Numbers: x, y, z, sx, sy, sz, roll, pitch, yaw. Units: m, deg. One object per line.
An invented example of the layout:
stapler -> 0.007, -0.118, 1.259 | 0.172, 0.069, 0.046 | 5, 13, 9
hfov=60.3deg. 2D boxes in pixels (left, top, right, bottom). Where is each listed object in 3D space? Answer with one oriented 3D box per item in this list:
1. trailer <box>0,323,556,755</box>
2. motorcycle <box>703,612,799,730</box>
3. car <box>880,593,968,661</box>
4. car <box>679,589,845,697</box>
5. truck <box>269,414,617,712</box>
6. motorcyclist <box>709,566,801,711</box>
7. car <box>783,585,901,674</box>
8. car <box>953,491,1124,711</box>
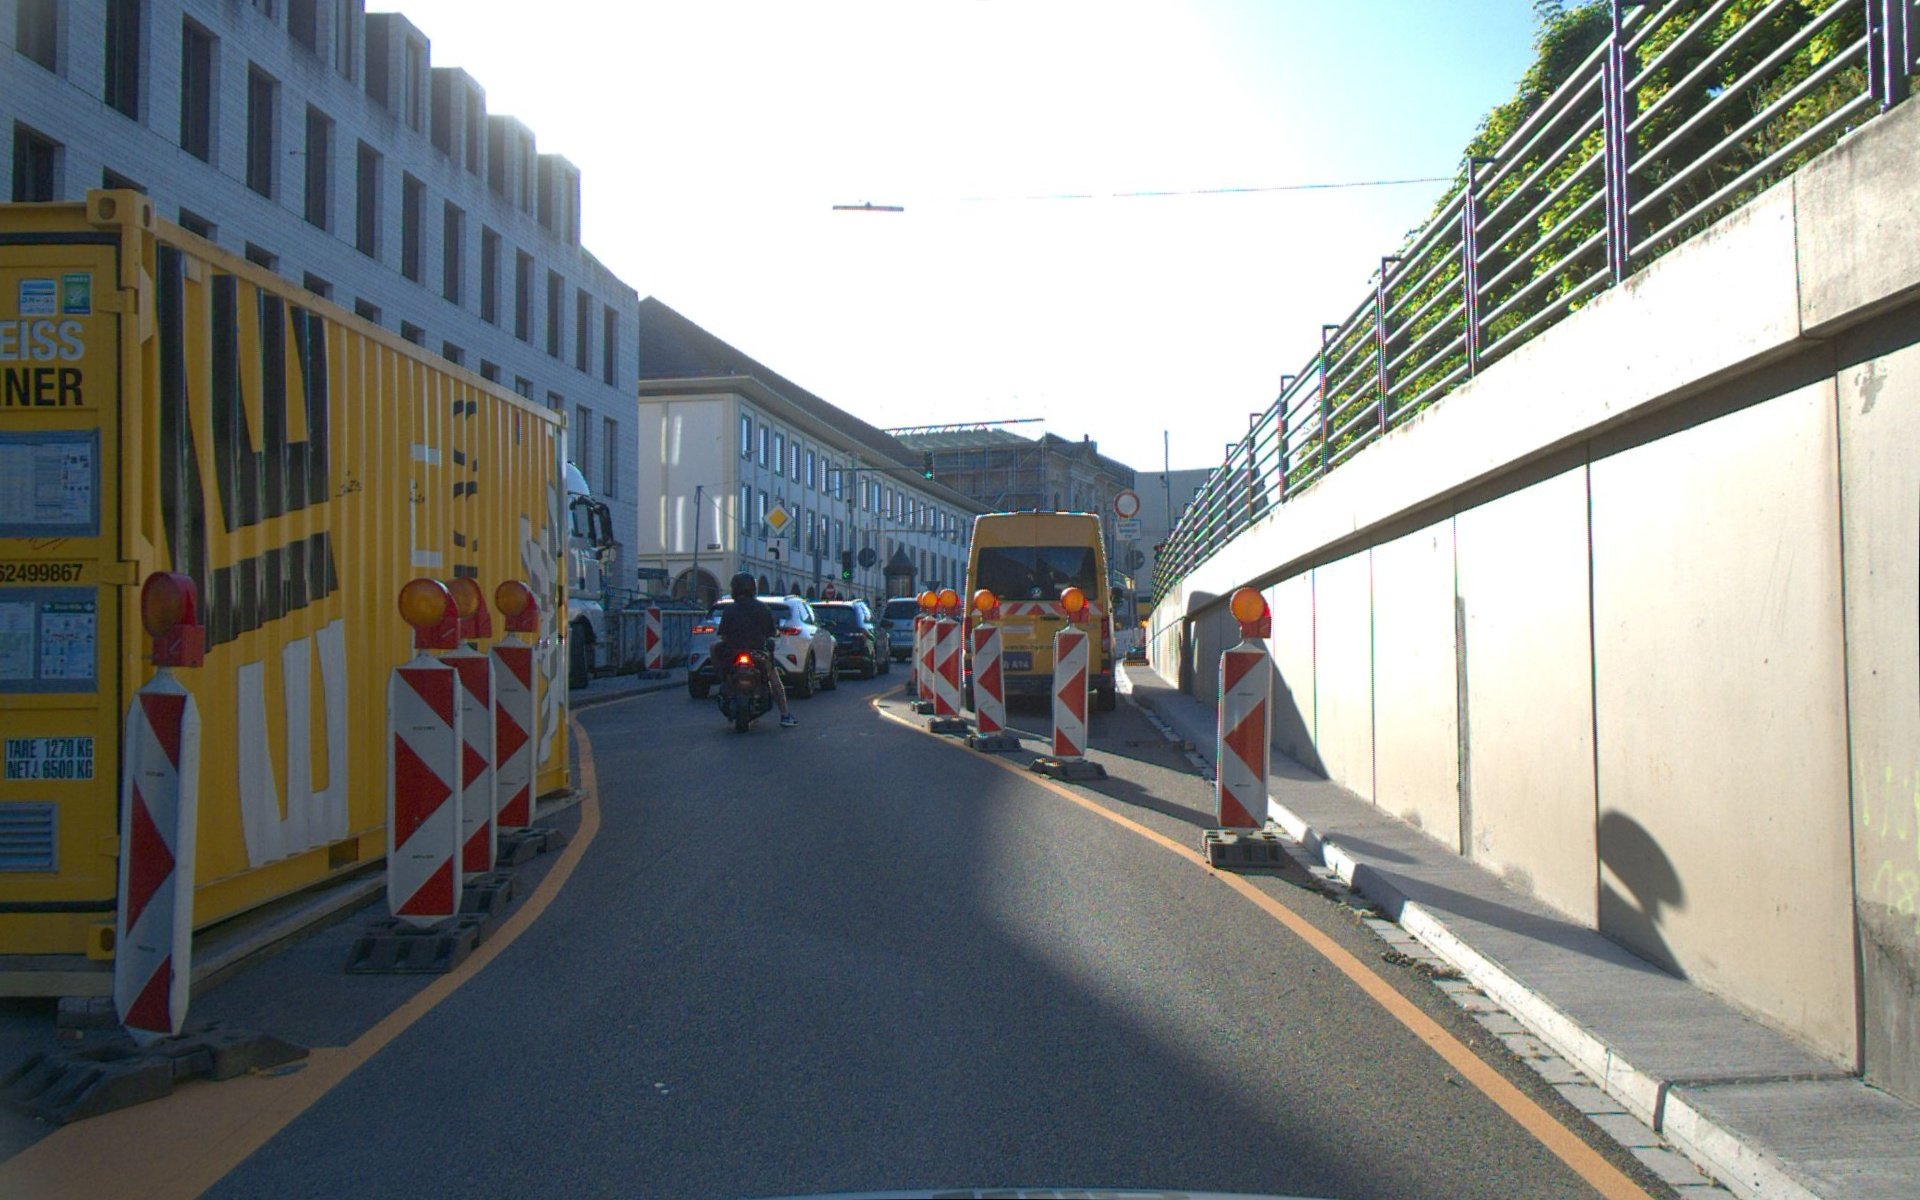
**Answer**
trailer -> -7.422, -0.533, 19.382 | 2.587, 3.732, 8.751 | -4, 0, 3
motorcycle -> -2.338, 0.764, 18.805 | 0.888, 1.204, 2.577 | 0, 0, -3
car -> -0.921, 0.695, 44.588 | 1.765, 1.751, 4.166 | 0, 0, 7
car -> -2.942, 0.609, 25.380 | 1.820, 1.498, 4.002 | 1, 0, 3
truck -> -7.078, -0.448, 23.572 | 2.525, 3.550, 5.819 | -4, 0, 5
motorcyclist -> -2.308, 0.418, 18.782 | 0.935, 1.587, 1.238 | 0, 0, -3
car -> -2.206, 0.608, 31.949 | 1.737, 1.578, 4.107 | -1, -2, 3
car -> 1.187, 0.032, 23.699 | 2.067, 2.670, 6.990 | 0, 0, 4
